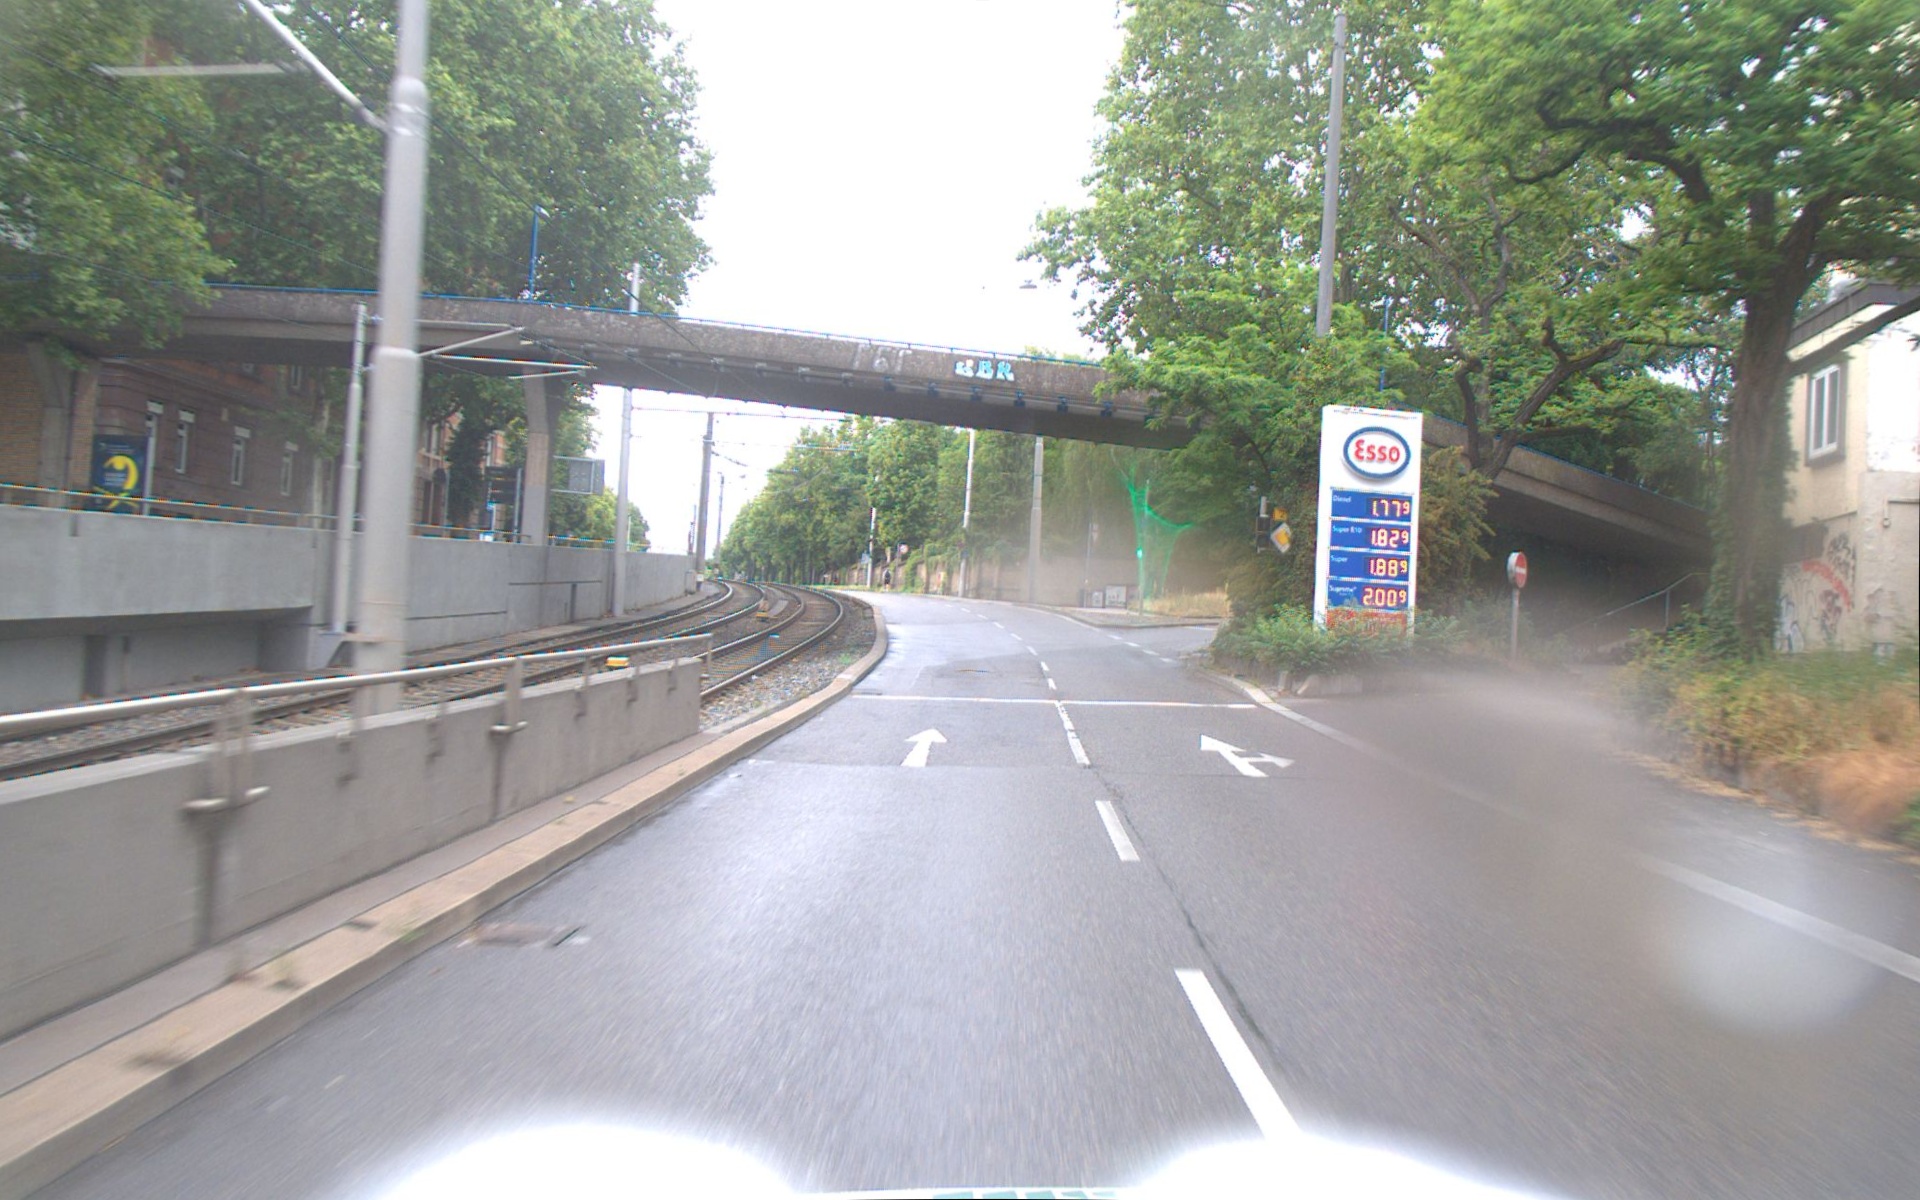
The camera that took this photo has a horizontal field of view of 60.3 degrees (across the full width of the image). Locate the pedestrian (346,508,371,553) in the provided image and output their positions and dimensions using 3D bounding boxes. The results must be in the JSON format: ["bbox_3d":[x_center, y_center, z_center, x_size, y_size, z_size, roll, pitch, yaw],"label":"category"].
[{"bbox_3d":[-22.444,-2.602,61.697,0.580,1.653,0.723,2,1,9],"label":"pedestrian"}]

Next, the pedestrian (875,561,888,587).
[{"bbox_3d":[-5.888,-1.968,123.766,0.707,1.882,0.781,5,-1,-11],"label":"pedestrian"}]

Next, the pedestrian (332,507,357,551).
[{"bbox_3d":[-23.156,-2.668,62.255,0.580,1.653,0.723,2,1,9],"label":"pedestrian"}]

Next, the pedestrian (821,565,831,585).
[{"bbox_3d":[-12.374,-2.305,152.311,0.707,1.716,0.727,5,-1,-11],"label":"pedestrian"}]
